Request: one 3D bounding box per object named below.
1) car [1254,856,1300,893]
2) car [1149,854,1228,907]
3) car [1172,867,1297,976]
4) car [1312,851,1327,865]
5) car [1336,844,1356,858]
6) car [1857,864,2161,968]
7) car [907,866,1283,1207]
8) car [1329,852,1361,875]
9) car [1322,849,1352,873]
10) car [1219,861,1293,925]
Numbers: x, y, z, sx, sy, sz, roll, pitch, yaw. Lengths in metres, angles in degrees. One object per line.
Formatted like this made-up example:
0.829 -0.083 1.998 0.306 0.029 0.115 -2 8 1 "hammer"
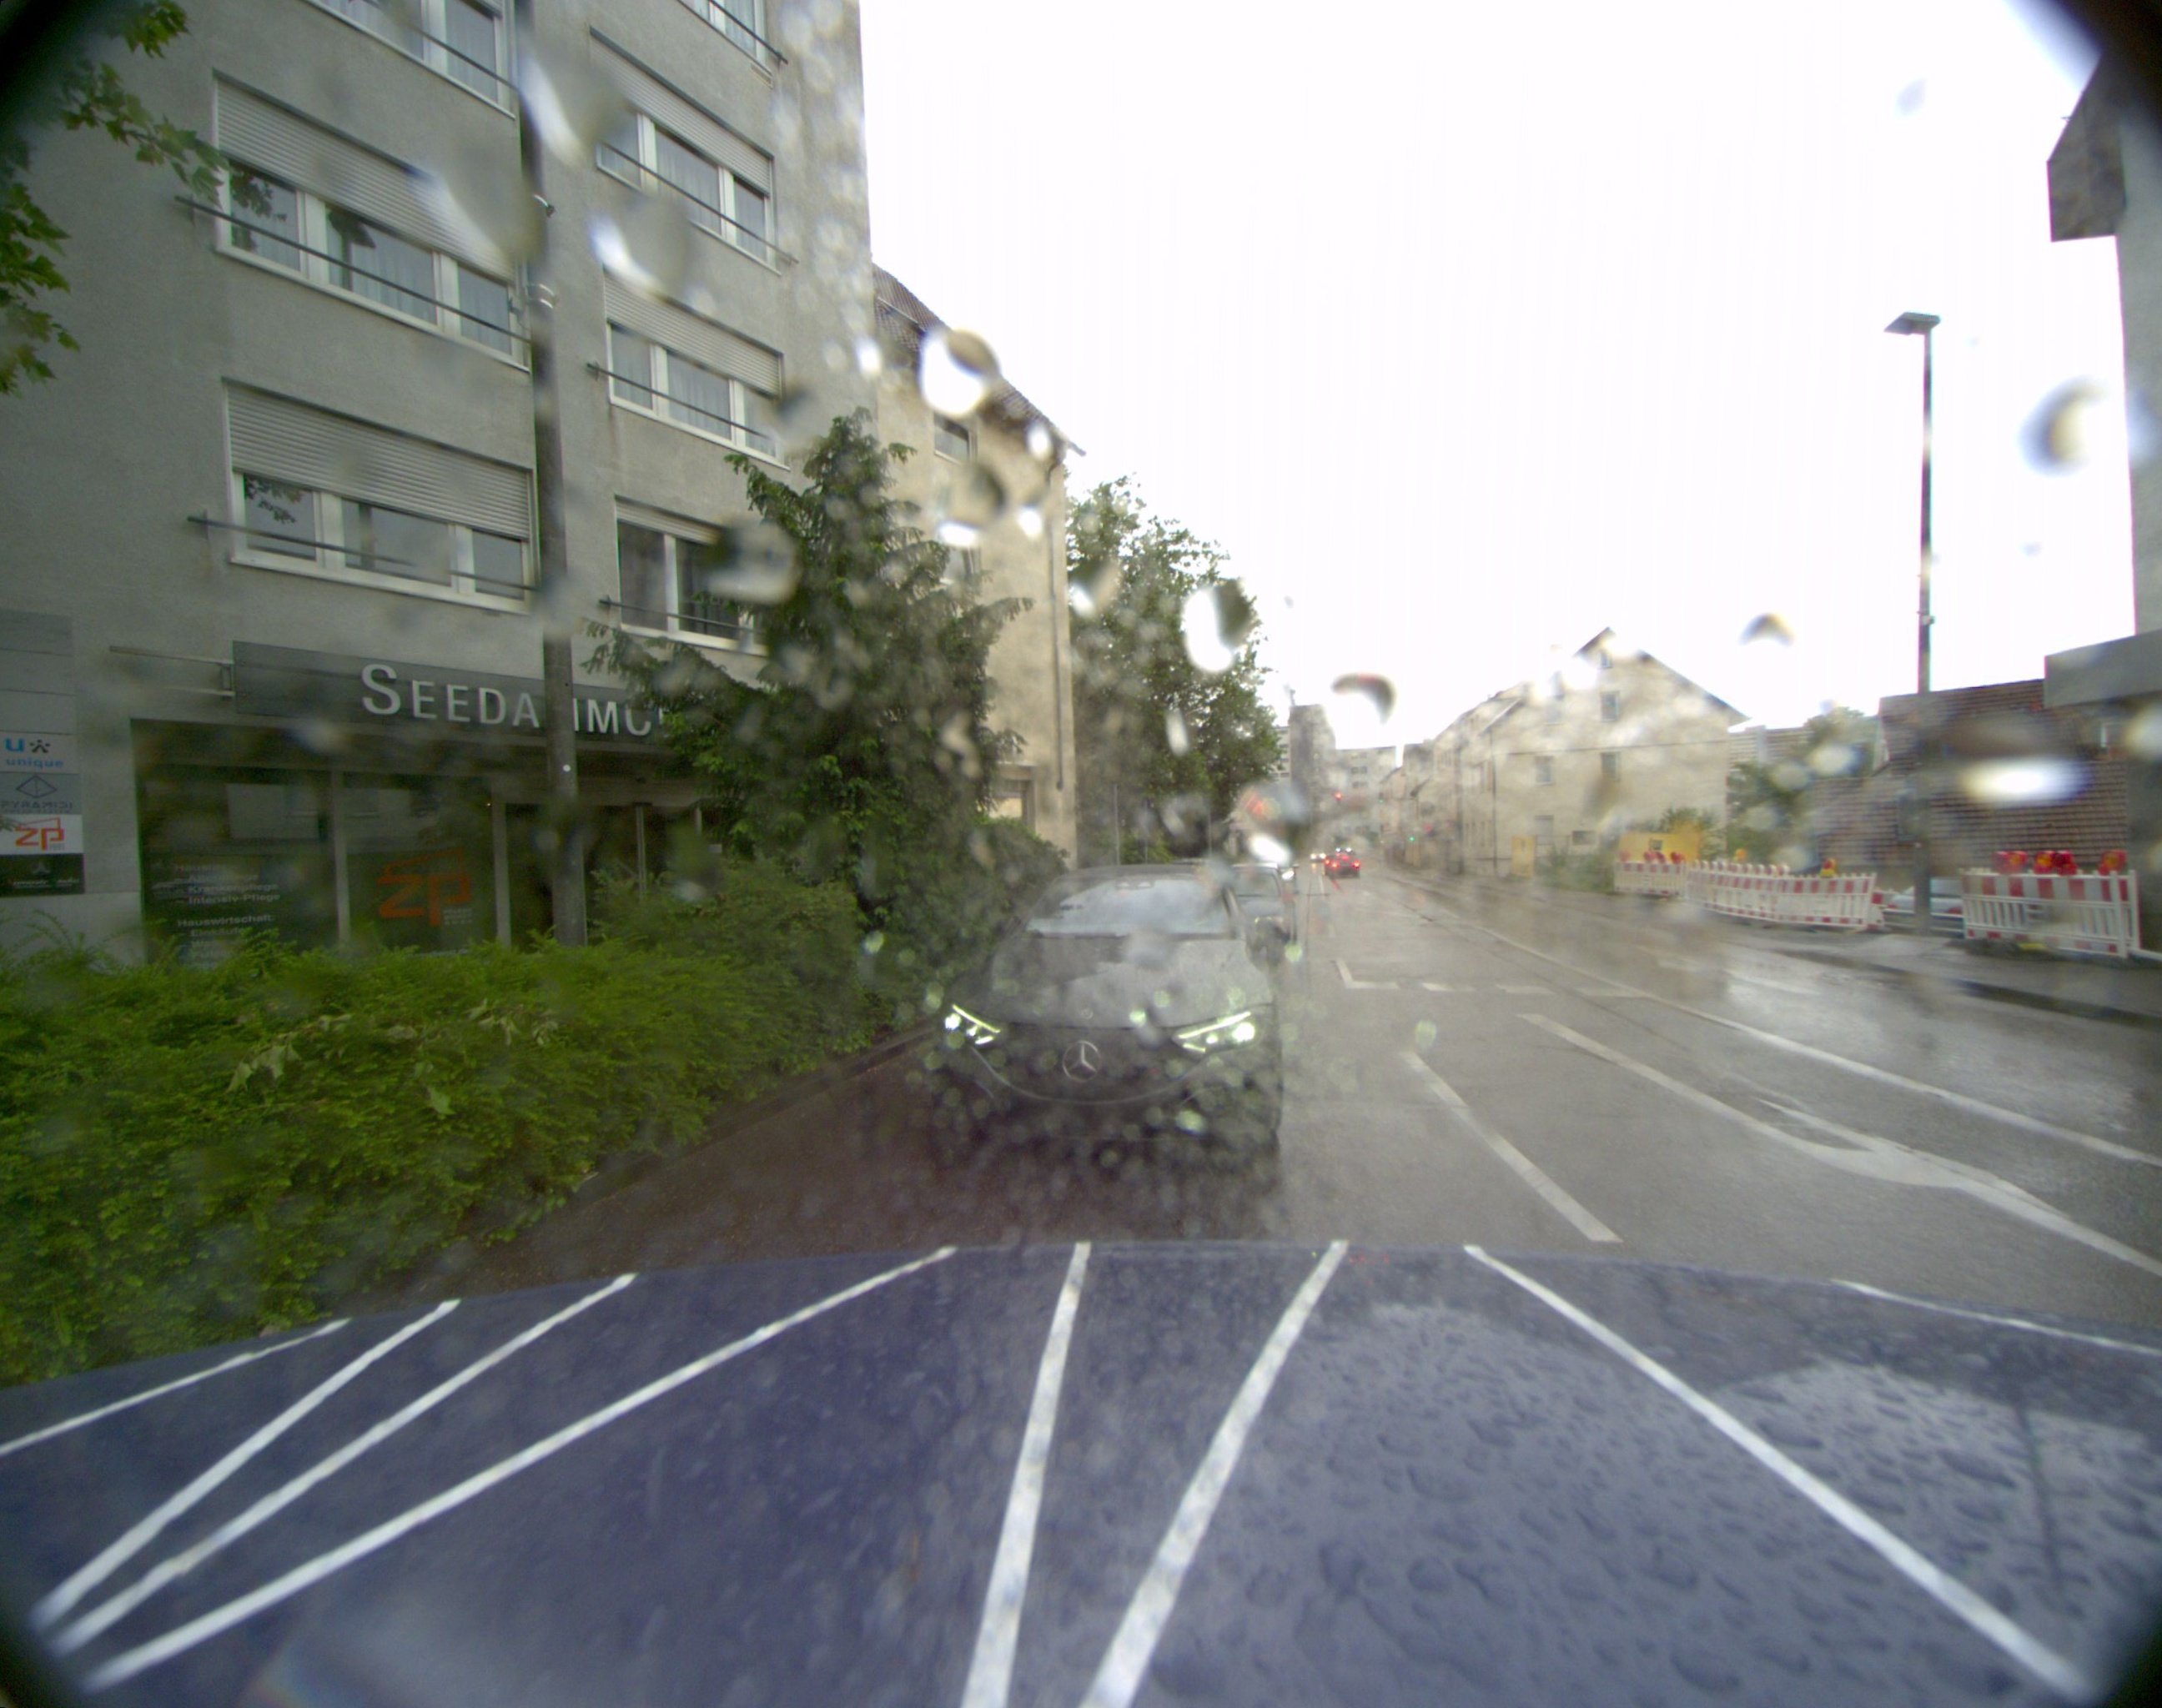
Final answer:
8.702 0.861 33.477 1.684 1.452 4.005 -2 0 18 "car"
4.024 0.892 27.820 1.933 1.770 4.740 -1 0 20 "car"
2.652 0.967 12.496 1.639 1.424 3.810 -1 0 17 "car"
27.954 0.432 89.195 1.613 1.495 3.722 -3 -1 17 "car"
38.366 -0.447 110.089 1.789 1.841 3.843 -2 0 33 "car"
16.485 1.058 13.442 3.505 1.382 1.653 6 -1 8 "car"
0.452 0.928 5.838 1.819 1.562 4.280 -2 -1 11 "car"
17.219 0.621 49.660 1.709 1.375 3.674 -2 0 16 "car"
18.824 0.514 55.942 1.818 1.635 4.281 -2 -1 16 "car"
4.668 0.957 20.077 1.685 1.413 4.004 -2 0 14 "car"
